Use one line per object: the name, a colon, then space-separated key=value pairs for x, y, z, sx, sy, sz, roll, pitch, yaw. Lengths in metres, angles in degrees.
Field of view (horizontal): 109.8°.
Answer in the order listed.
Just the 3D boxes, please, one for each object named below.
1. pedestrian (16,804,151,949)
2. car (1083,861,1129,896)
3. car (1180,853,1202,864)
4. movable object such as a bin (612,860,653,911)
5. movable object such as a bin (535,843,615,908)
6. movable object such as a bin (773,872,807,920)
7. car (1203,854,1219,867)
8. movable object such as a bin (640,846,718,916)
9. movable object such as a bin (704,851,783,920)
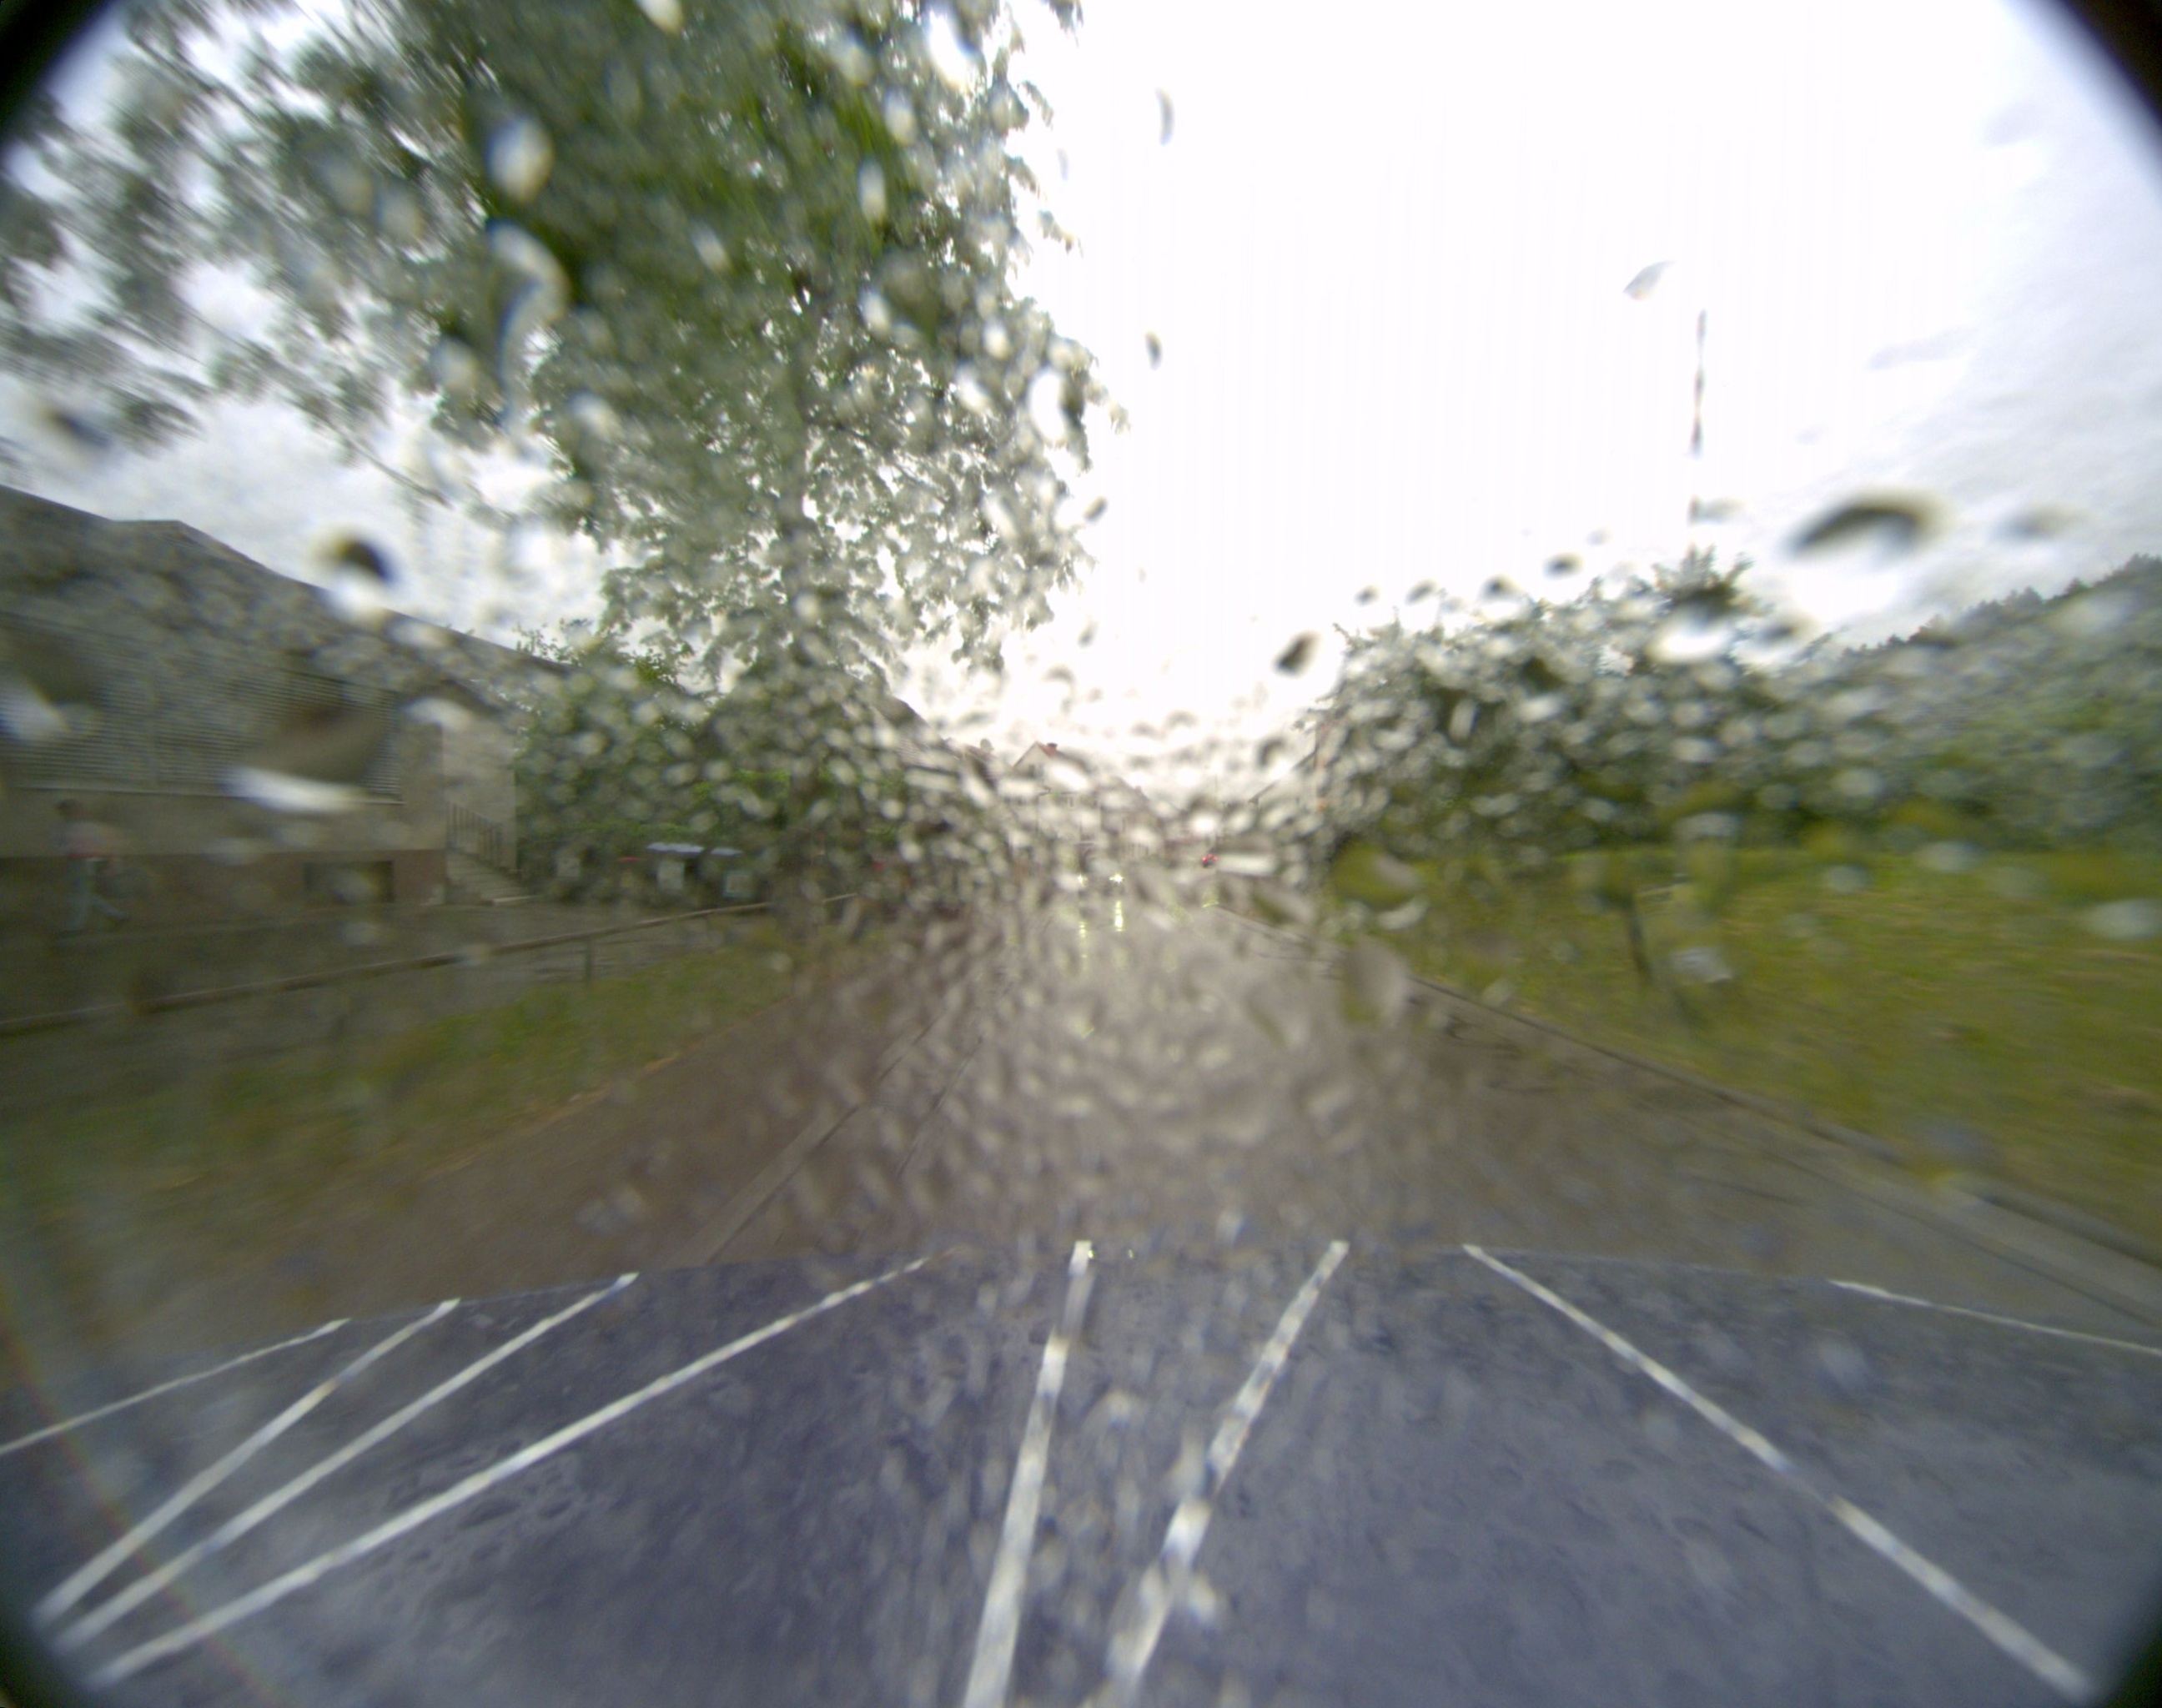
pedestrian: x=-12.493 y=0.274 z=9.547 sx=0.536 sy=1.744 sz=0.867 roll=1 pitch=0 yaw=1
car: x=0.965 y=0.968 z=30.837 sx=1.667 sy=1.290 sz=3.518 roll=-2 pitch=0 yaw=-1
car: x=15.609 y=0.646 z=107.905 sx=1.892 sy=1.566 sz=3.887 roll=-3 pitch=0 yaw=-12
movable object such as a bin: x=-9.962 y=0.687 z=16.888 sx=0.568 sy=1.073 sz=0.530 roll=3 pitch=1 yaw=-1
movable object such as a bin: x=-11.142 y=0.458 z=16.765 sx=1.151 sy=1.335 sz=0.795 roll=4 pitch=1 yaw=0
movable object such as a bin: x=-6.411 y=0.923 z=16.741 sx=0.538 sy=1.017 sz=0.463 roll=3 pitch=1 yaw=-1
car: x=16.696 y=0.815 z=97.372 sx=1.702 sy=1.538 sz=3.855 roll=2 pitch=0 yaw=15
movable object such as a bin: x=-8.872 y=0.575 z=16.797 sx=1.238 sy=1.428 sz=0.795 roll=4 pitch=1 yaw=-1
movable object such as a bin: x=-7.376 y=0.671 z=16.648 sx=1.296 sy=1.410 sz=0.795 roll=3 pitch=1 yaw=-1
